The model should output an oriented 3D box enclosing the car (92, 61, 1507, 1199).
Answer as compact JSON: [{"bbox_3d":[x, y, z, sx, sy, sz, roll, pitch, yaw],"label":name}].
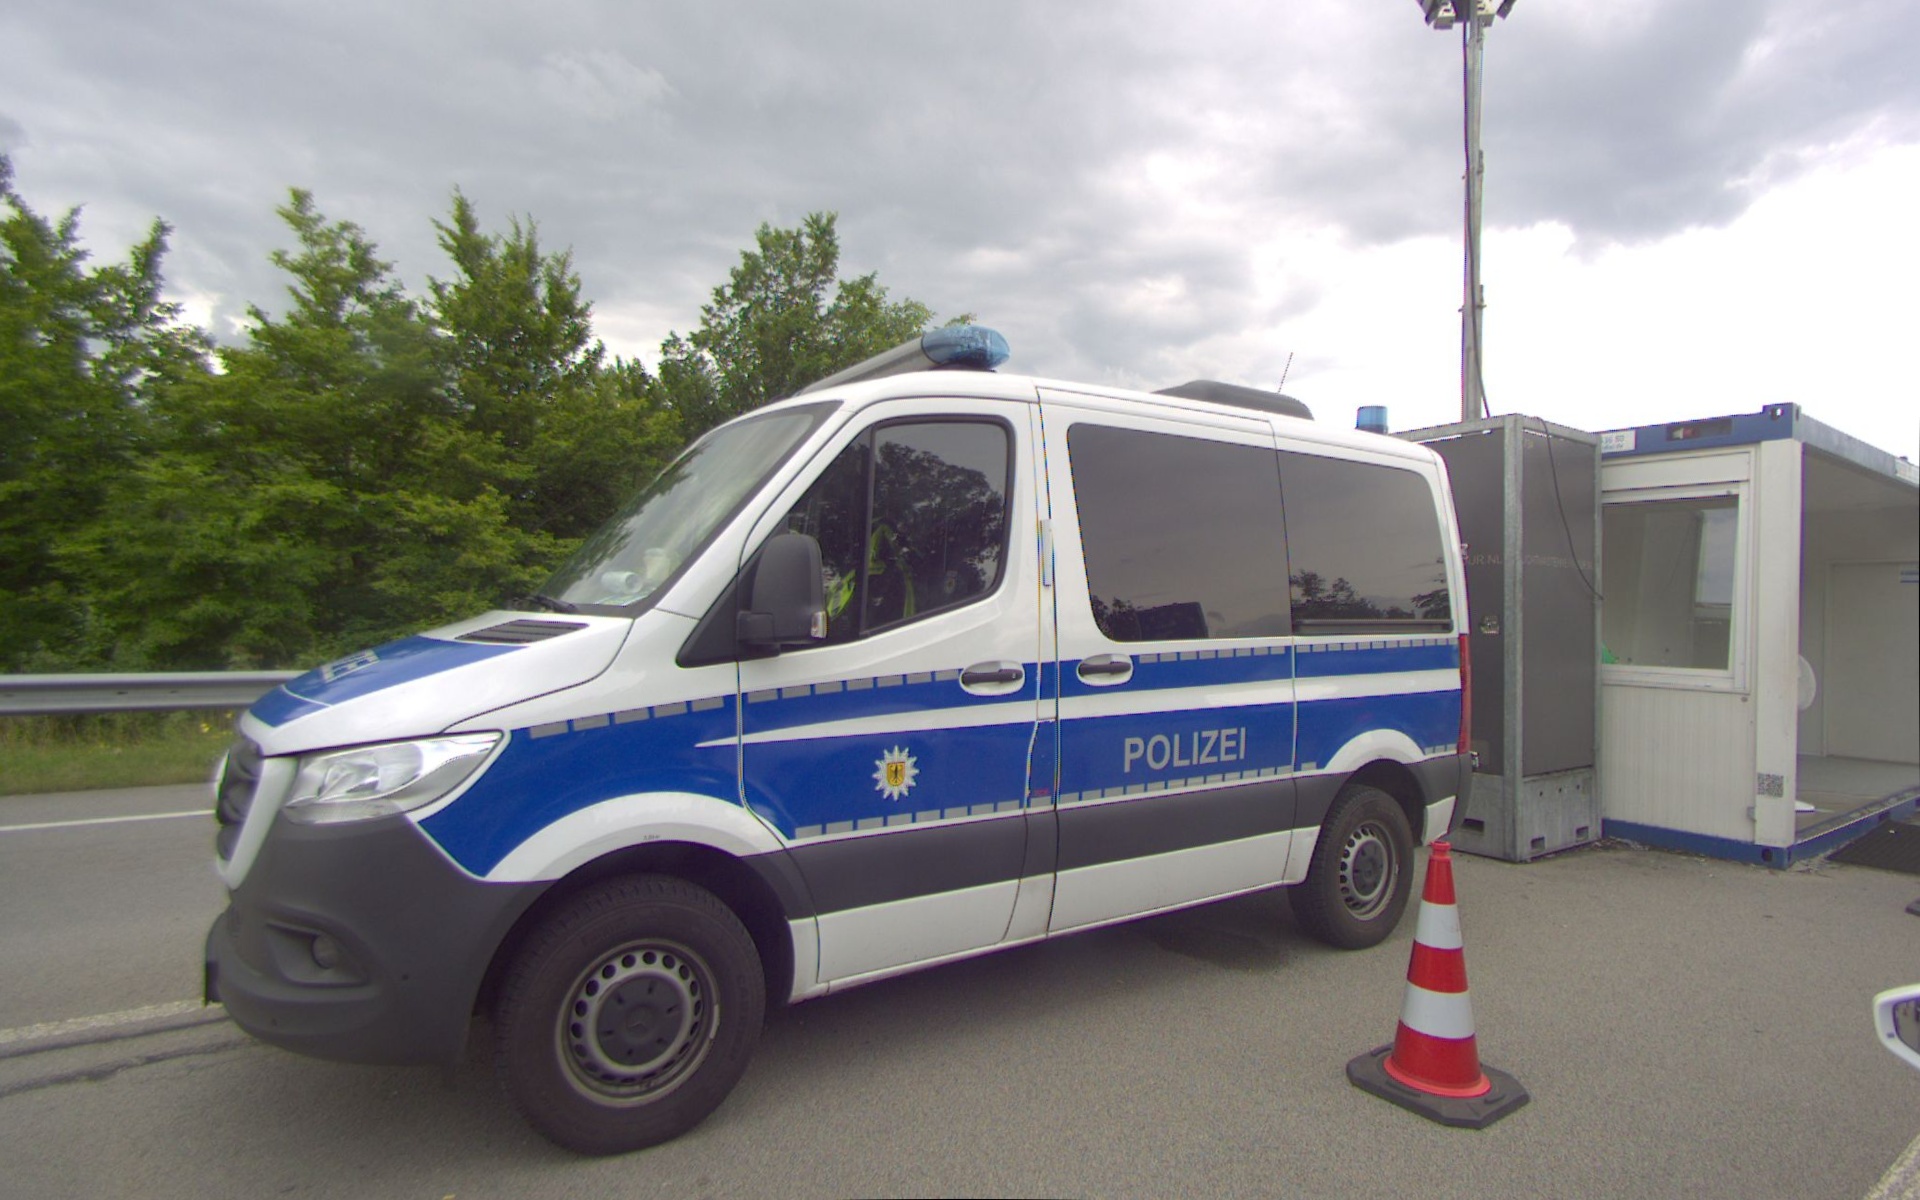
[{"bbox_3d":[-0.070,0.235,4.288,5.224,2.496,2.017,1,0,-34],"label":"car"}]

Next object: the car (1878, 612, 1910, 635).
[{"bbox_3d":[92.936,2.314,99.972,1.831,2.252,4.242,1,0,36],"label":"car"}]

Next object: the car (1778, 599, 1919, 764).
[{"bbox_3d":[11.819,0.924,12.202,3.967,1.767,1.857,1,0,-34],"label":"car"}]

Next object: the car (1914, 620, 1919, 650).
[{"bbox_3d":[50.809,1.826,51.991,4.226,1.518,1.838,2,0,-43],"label":"car"}]

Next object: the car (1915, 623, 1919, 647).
[{"bbox_3d":[61.562,2.223,63.338,1.835,1.518,4.232,1,0,43],"label":"car"}]
